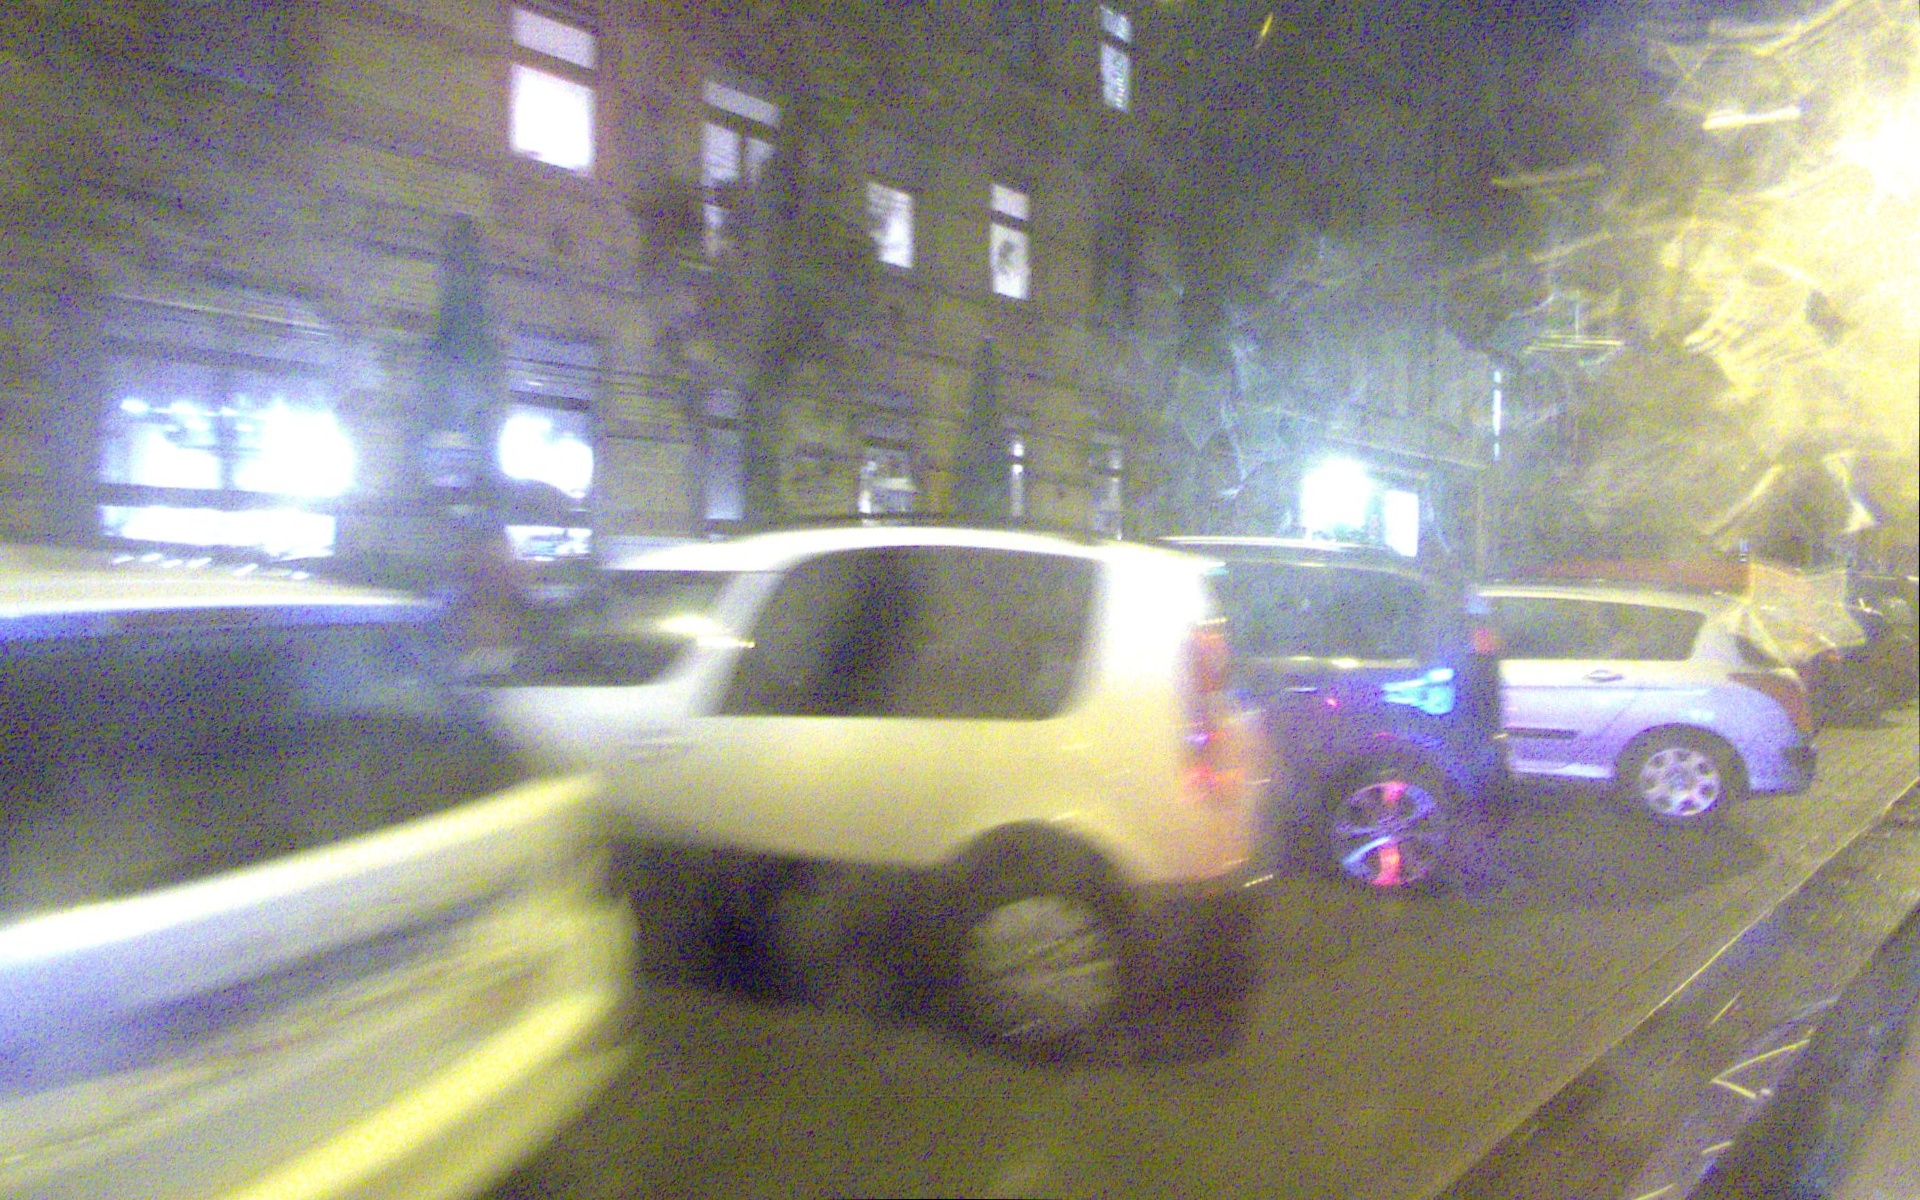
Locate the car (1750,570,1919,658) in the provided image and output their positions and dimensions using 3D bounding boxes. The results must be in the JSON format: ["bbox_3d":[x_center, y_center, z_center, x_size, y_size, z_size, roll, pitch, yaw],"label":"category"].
[{"bbox_3d":[20.326,0.294,22.588,3.899,1.763,1.694,4,3,28],"label":"car"}]

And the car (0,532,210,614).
[{"bbox_3d":[-20.401,-0.599,23.497,4.369,1.785,2.004,0,0,-17],"label":"car"}]

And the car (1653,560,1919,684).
[{"bbox_3d":[14.115,0.320,16.769,3.875,1.815,1.737,3,2,13],"label":"car"}]

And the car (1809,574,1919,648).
[{"bbox_3d":[22.833,0.293,23.899,3.899,1.639,1.694,4,3,28],"label":"car"}]

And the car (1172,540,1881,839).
[{"bbox_3d":[3.784,0.455,7.513,4.027,1.617,1.820,3,3,23],"label":"car"}]

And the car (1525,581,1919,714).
[{"bbox_3d":[9.760,0.534,13.024,3.999,1.471,1.671,1,1,15],"label":"car"}]

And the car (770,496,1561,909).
[{"bbox_3d":[1.016,0.372,5.798,3.740,1.733,1.741,3,2,16],"label":"car"}]

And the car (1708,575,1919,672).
[{"bbox_3d":[16.475,0.414,18.626,3.880,1.568,1.735,3,2,17],"label":"car"}]

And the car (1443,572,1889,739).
[{"bbox_3d":[7.550,0.509,11.265,3.657,1.470,1.649,3,2,19],"label":"car"}]

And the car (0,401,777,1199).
[{"bbox_3d":[-2.718,0.468,2.359,4.214,1.593,1.759,3,3,22],"label":"car"}]

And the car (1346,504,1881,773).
[{"bbox_3d":[5.686,0.234,9.359,3.687,2.053,1.714,3,2,15],"label":"car"}]

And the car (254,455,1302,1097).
[{"bbox_3d":[-0.645,0.391,4.145,3.688,1.733,1.764,3,2,16],"label":"car"}]

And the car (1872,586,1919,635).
[{"bbox_3d":[31.332,0.410,31.565,3.897,1.481,1.695,4,3,27],"label":"car"}]

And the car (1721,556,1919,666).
[{"bbox_3d":[18.540,0.226,20.387,4.656,2.004,1.966,3,2,21],"label":"car"}]

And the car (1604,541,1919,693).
[{"bbox_3d":[12.139,0.193,15.014,3.875,1.966,1.737,3,2,13],"label":"car"}]
